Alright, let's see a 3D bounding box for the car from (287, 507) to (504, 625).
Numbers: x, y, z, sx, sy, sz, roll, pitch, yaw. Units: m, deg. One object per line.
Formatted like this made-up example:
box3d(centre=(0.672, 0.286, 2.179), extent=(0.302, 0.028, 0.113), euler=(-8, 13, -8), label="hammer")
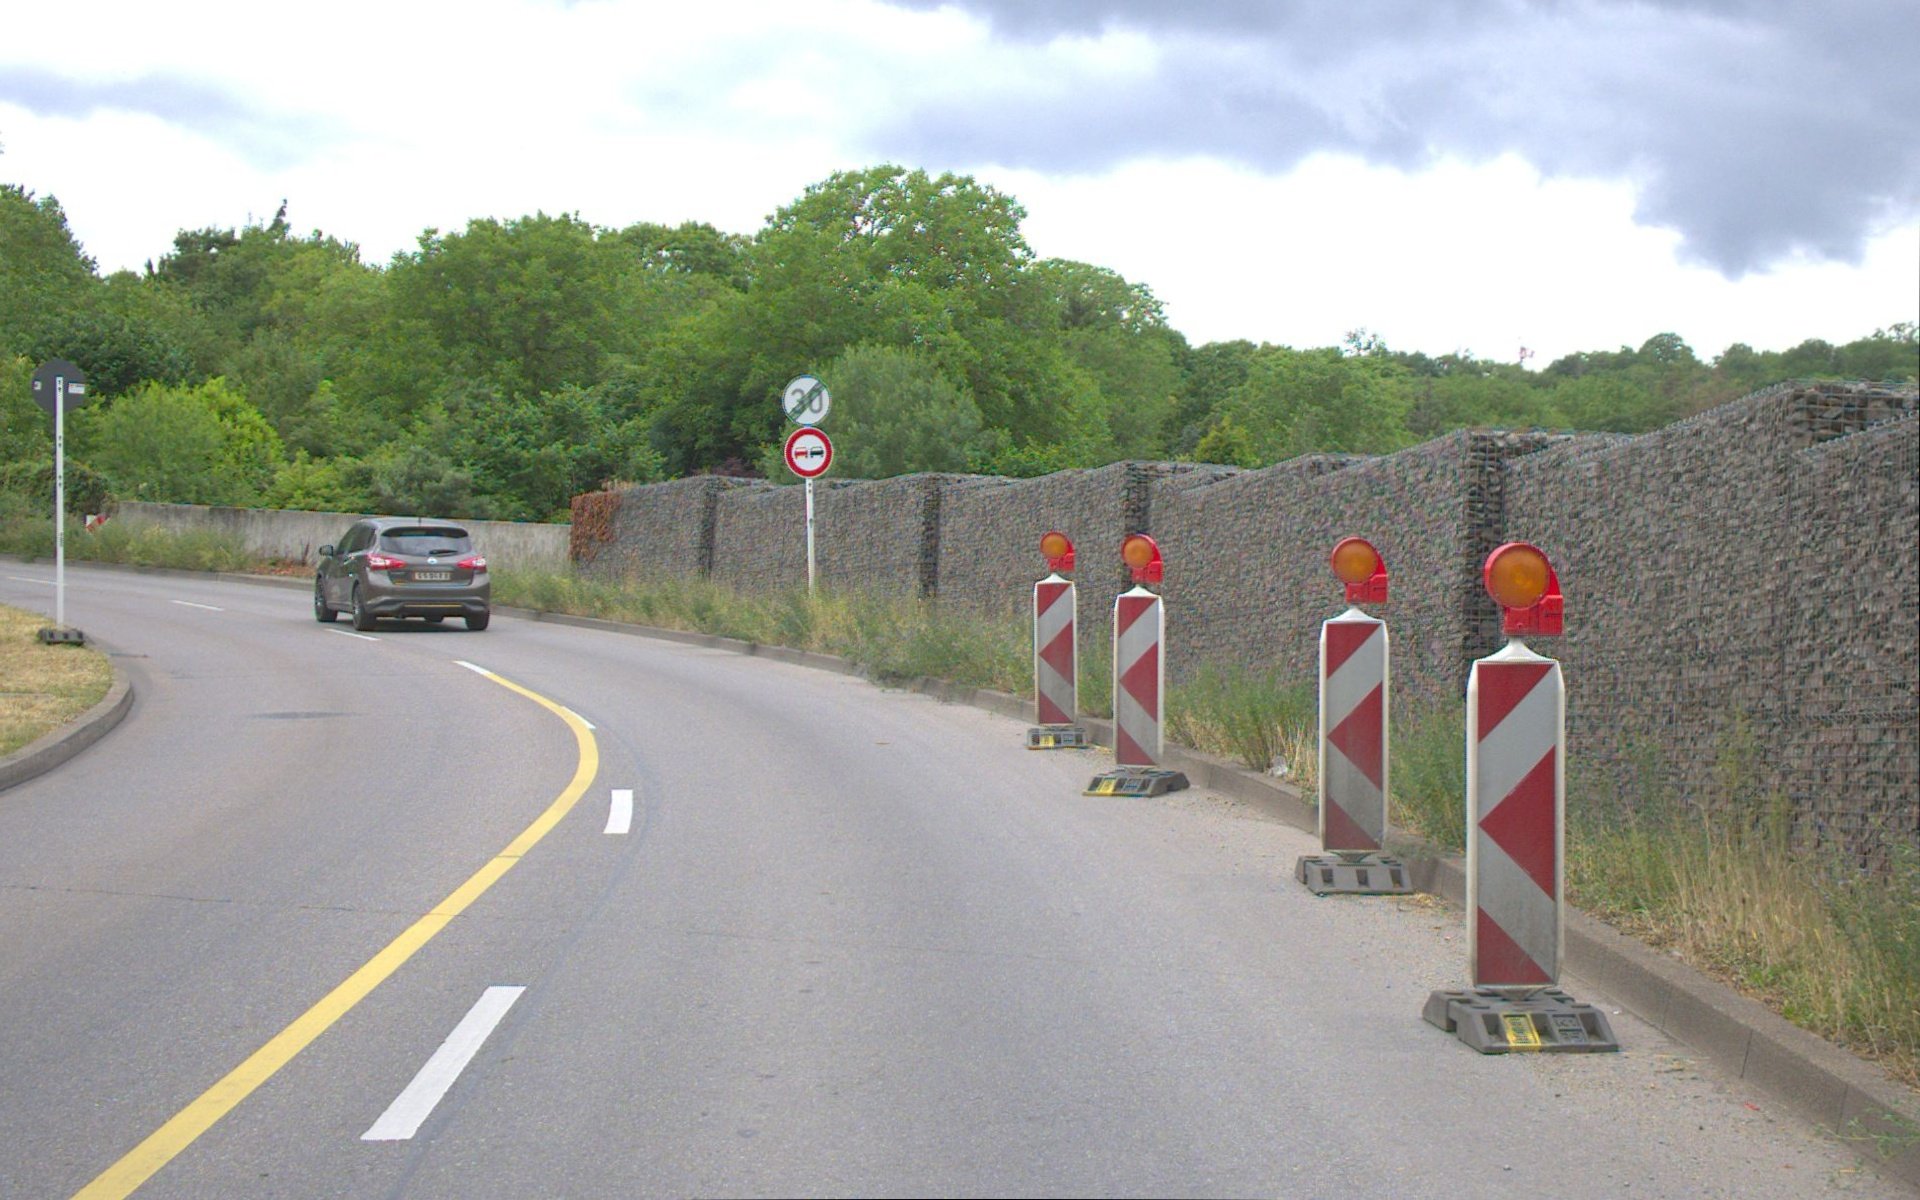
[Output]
box3d(centre=(-7.794, -0.493, 47.183), extent=(1.839, 1.478, 4.001), euler=(0, 2, -26), label="car")
